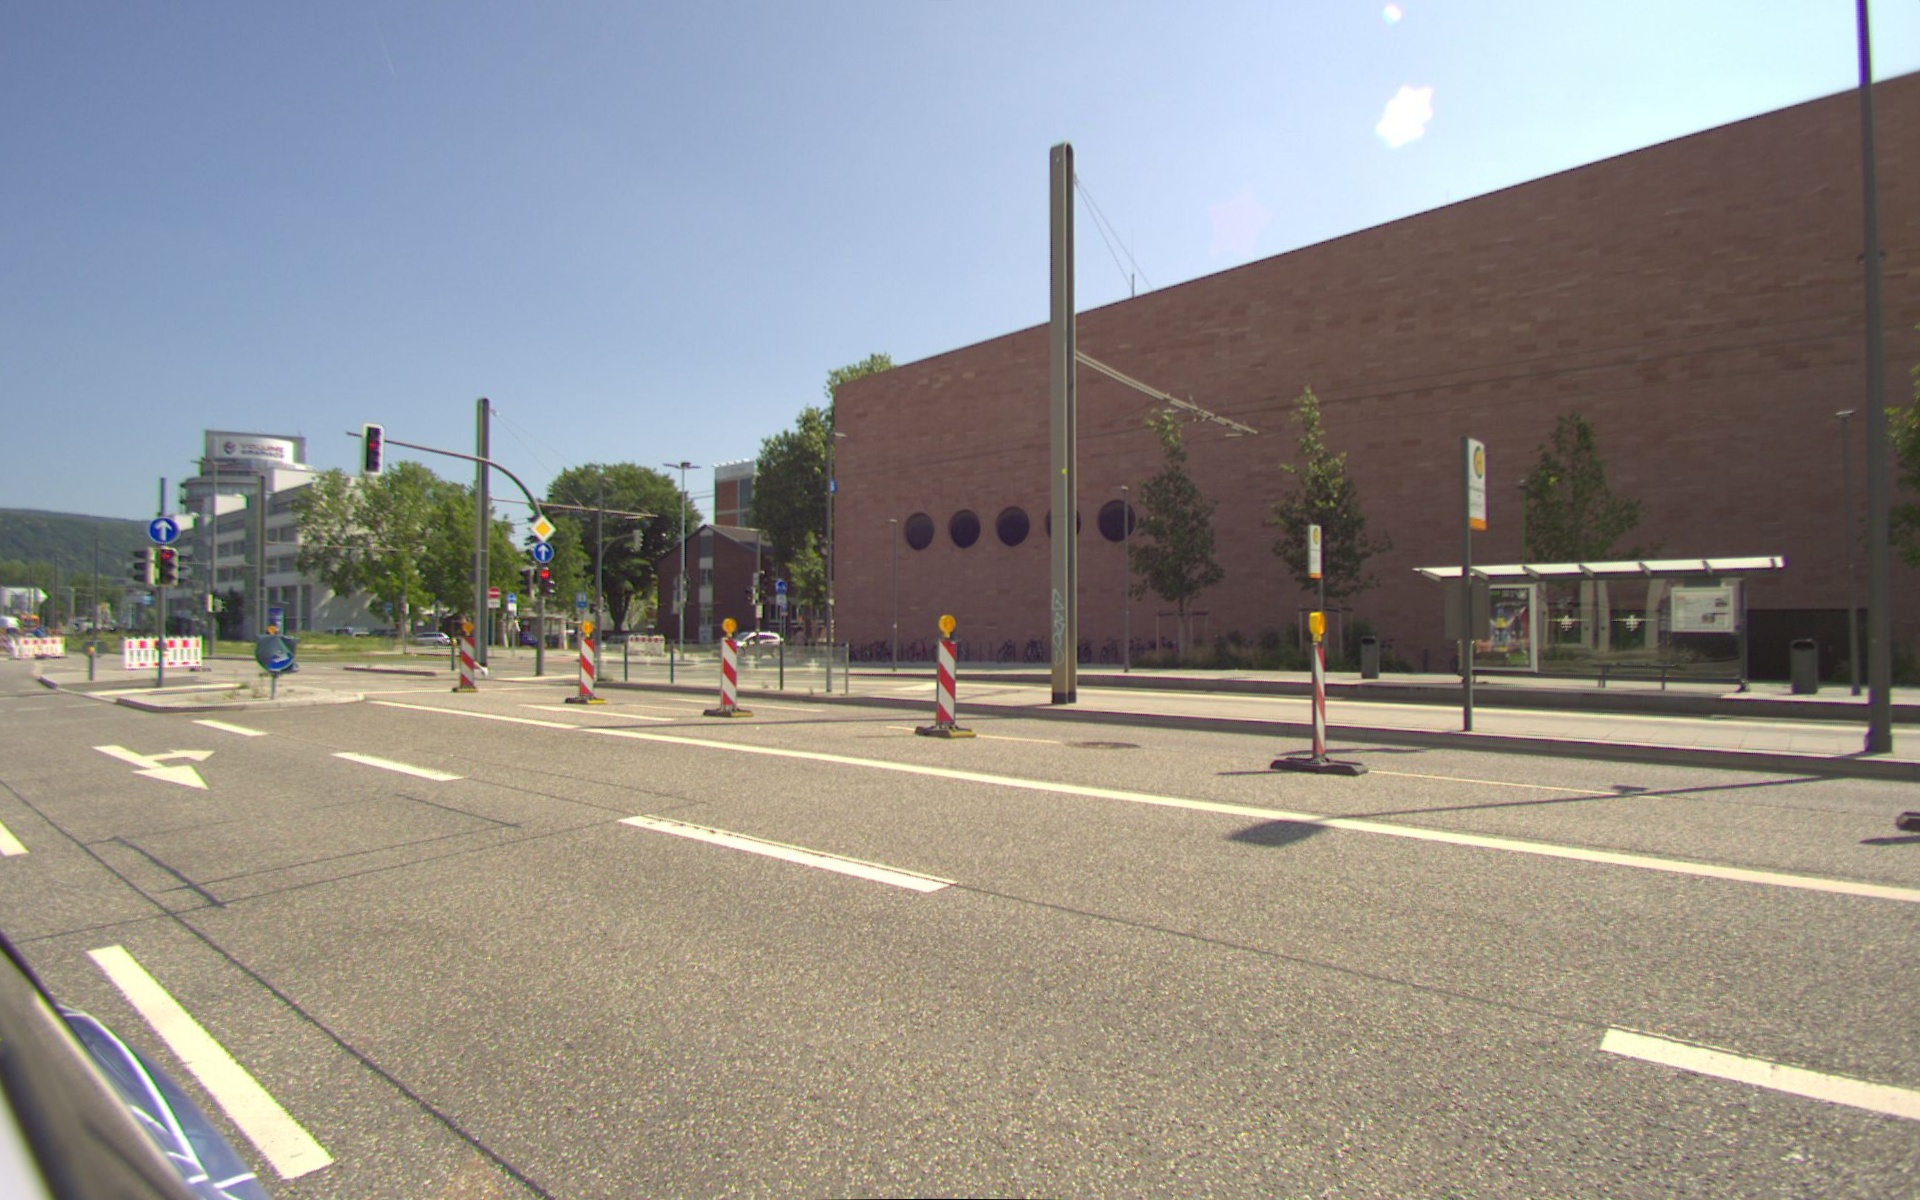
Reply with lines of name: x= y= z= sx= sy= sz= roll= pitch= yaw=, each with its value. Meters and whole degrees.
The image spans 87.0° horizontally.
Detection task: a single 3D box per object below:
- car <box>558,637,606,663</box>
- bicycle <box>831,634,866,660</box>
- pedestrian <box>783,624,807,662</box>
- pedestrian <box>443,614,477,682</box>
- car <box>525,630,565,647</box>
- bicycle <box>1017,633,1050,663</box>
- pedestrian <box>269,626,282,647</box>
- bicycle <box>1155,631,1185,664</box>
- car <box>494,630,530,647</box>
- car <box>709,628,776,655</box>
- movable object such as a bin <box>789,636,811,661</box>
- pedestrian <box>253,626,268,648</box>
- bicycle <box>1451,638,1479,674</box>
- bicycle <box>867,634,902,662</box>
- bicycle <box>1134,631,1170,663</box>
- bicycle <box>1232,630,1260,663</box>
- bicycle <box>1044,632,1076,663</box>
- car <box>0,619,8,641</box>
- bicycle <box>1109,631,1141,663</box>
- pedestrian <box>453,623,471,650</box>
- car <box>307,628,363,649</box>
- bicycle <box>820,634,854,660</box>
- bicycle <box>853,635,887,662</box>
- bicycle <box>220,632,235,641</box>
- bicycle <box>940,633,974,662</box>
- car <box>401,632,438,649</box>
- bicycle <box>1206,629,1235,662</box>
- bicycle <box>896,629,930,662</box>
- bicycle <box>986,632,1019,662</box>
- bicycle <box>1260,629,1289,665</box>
car: x=-27.783 y=3.635 z=74.371 sx=3.938 sy=1.774 sz=1.680 roll=0 pitch=0 yaw=42
bicycle: x=-5.336 y=2.260 z=48.471 sx=0.537 sy=1.221 sz=2.036 roll=-1 pitch=-3 yaw=30
pedestrian: x=-6.988 y=1.814 z=42.967 sx=0.784 sy=1.574 sz=0.931 roll=-1 pitch=-1 yaw=5
pedestrian: x=-13.924 y=1.327 z=28.173 sx=0.645 sy=1.847 sz=0.661 roll=0 pitch=-1 yaw=-45
car: x=-36.882 y=3.403 z=89.914 sx=4.265 sy=1.468 sz=1.522 roll=-2 pitch=-3 yaw=41
bicycle: x=3.173 y=2.032 z=43.461 sx=0.537 sy=1.221 sz=2.036 roll=-2 pitch=-1 yaw=30
pedestrian: x=-65.853 y=3.519 z=97.306 sx=0.984 sy=2.029 sz=0.830 roll=-2 pitch=-1 yaw=44
bicycle: x=8.341 y=1.866 z=40.082 sx=0.537 sy=1.221 sz=2.036 roll=-2 pitch=-1 yaw=30
car: x=-45.103 y=3.823 z=101.838 sx=3.630 sy=1.603 sz=1.752 roll=-2 pitch=0 yaw=36
car: x=-12.238 y=2.311 z=57.032 sx=1.572 sy=1.380 sz=3.443 roll=-2 pitch=-1 yaw=40
movable object such as a bin: x=-6.910 y=2.081 z=43.797 sx=0.784 sy=1.039 sz=0.714 roll=-1 pitch=-1 yaw=6
pedestrian: x=-66.677 y=3.541 z=96.468 sx=0.910 sy=2.029 sz=0.972 roll=-2 pitch=-1 yaw=44
bicycle: x=17.467 y=1.922 z=34.966 sx=0.594 sy=1.161 sz=2.223 roll=-2 pitch=-2 yaw=33
bicycle: x=-3.489 y=2.236 z=47.048 sx=0.537 sy=1.221 sz=2.036 roll=-2 pitch=-1 yaw=30
bicycle: x=7.674 y=1.862 z=40.420 sx=0.745 sy=1.221 sz=1.868 roll=-1 pitch=-1 yaw=34
bicycle: x=10.995 y=1.761 z=38.851 sx=0.537 sy=1.221 sz=2.036 roll=-1 pitch=-2 yaw=30
bicycle: x=4.255 y=2.003 z=42.832 sx=0.537 sy=1.221 sz=2.036 roll=-2 pitch=-1 yaw=30
car: x=-123.509 y=3.782 z=129.357 sx=5.985 sy=2.761 sz=2.055 roll=-1 pitch=-3 yaw=42
bicycle: x=6.554 y=1.853 z=40.139 sx=0.537 sy=1.221 sz=2.036 roll=-2 pitch=-1 yaw=30
pedestrian: x=-34.340 y=2.512 z=69.765 sx=0.802 sy=1.861 sz=1.108 roll=0 pitch=-2 yaw=-43
car: x=-68.524 y=4.182 z=111.059 sx=4.988 sy=2.196 sz=2.121 roll=0 pitch=-1 yaw=-22
bicycle: x=-5.942 y=2.262 z=48.897 sx=0.537 sy=1.221 sz=2.036 roll=-1 pitch=-2 yaw=30
bicycle: x=-4.217 y=2.265 z=47.607 sx=0.537 sy=1.221 sz=2.036 roll=-2 pitch=-1 yaw=30
bicycle: x=-99.690 y=4.920 z=137.774 sx=0.438 sy=1.198 sz=1.629 roll=-2 pitch=0 yaw=41
bicycle: x=-0.133 y=2.131 z=45.418 sx=0.537 sy=1.221 sz=2.036 roll=-2 pitch=-1 yaw=30
car: x=-52.251 y=3.889 z=97.769 sx=3.630 sy=1.603 sz=1.752 roll=-2 pitch=0 yaw=36
bicycle: x=10.063 y=1.743 z=39.009 sx=0.537 sy=1.221 sz=2.036 roll=-2 pitch=-1 yaw=30
bicycle: x=-2.128 y=2.081 z=46.385 sx=0.537 sy=1.464 sz=2.036 roll=-2 pitch=-2 yaw=30
bicycle: x=1.873 y=2.040 z=44.129 sx=0.537 sy=1.221 sz=2.036 roll=-1 pitch=-1 yaw=30
bicycle: x=11.506 y=1.702 z=36.991 sx=0.537 sy=1.221 sz=2.036 roll=-2 pitch=-1 yaw=30
